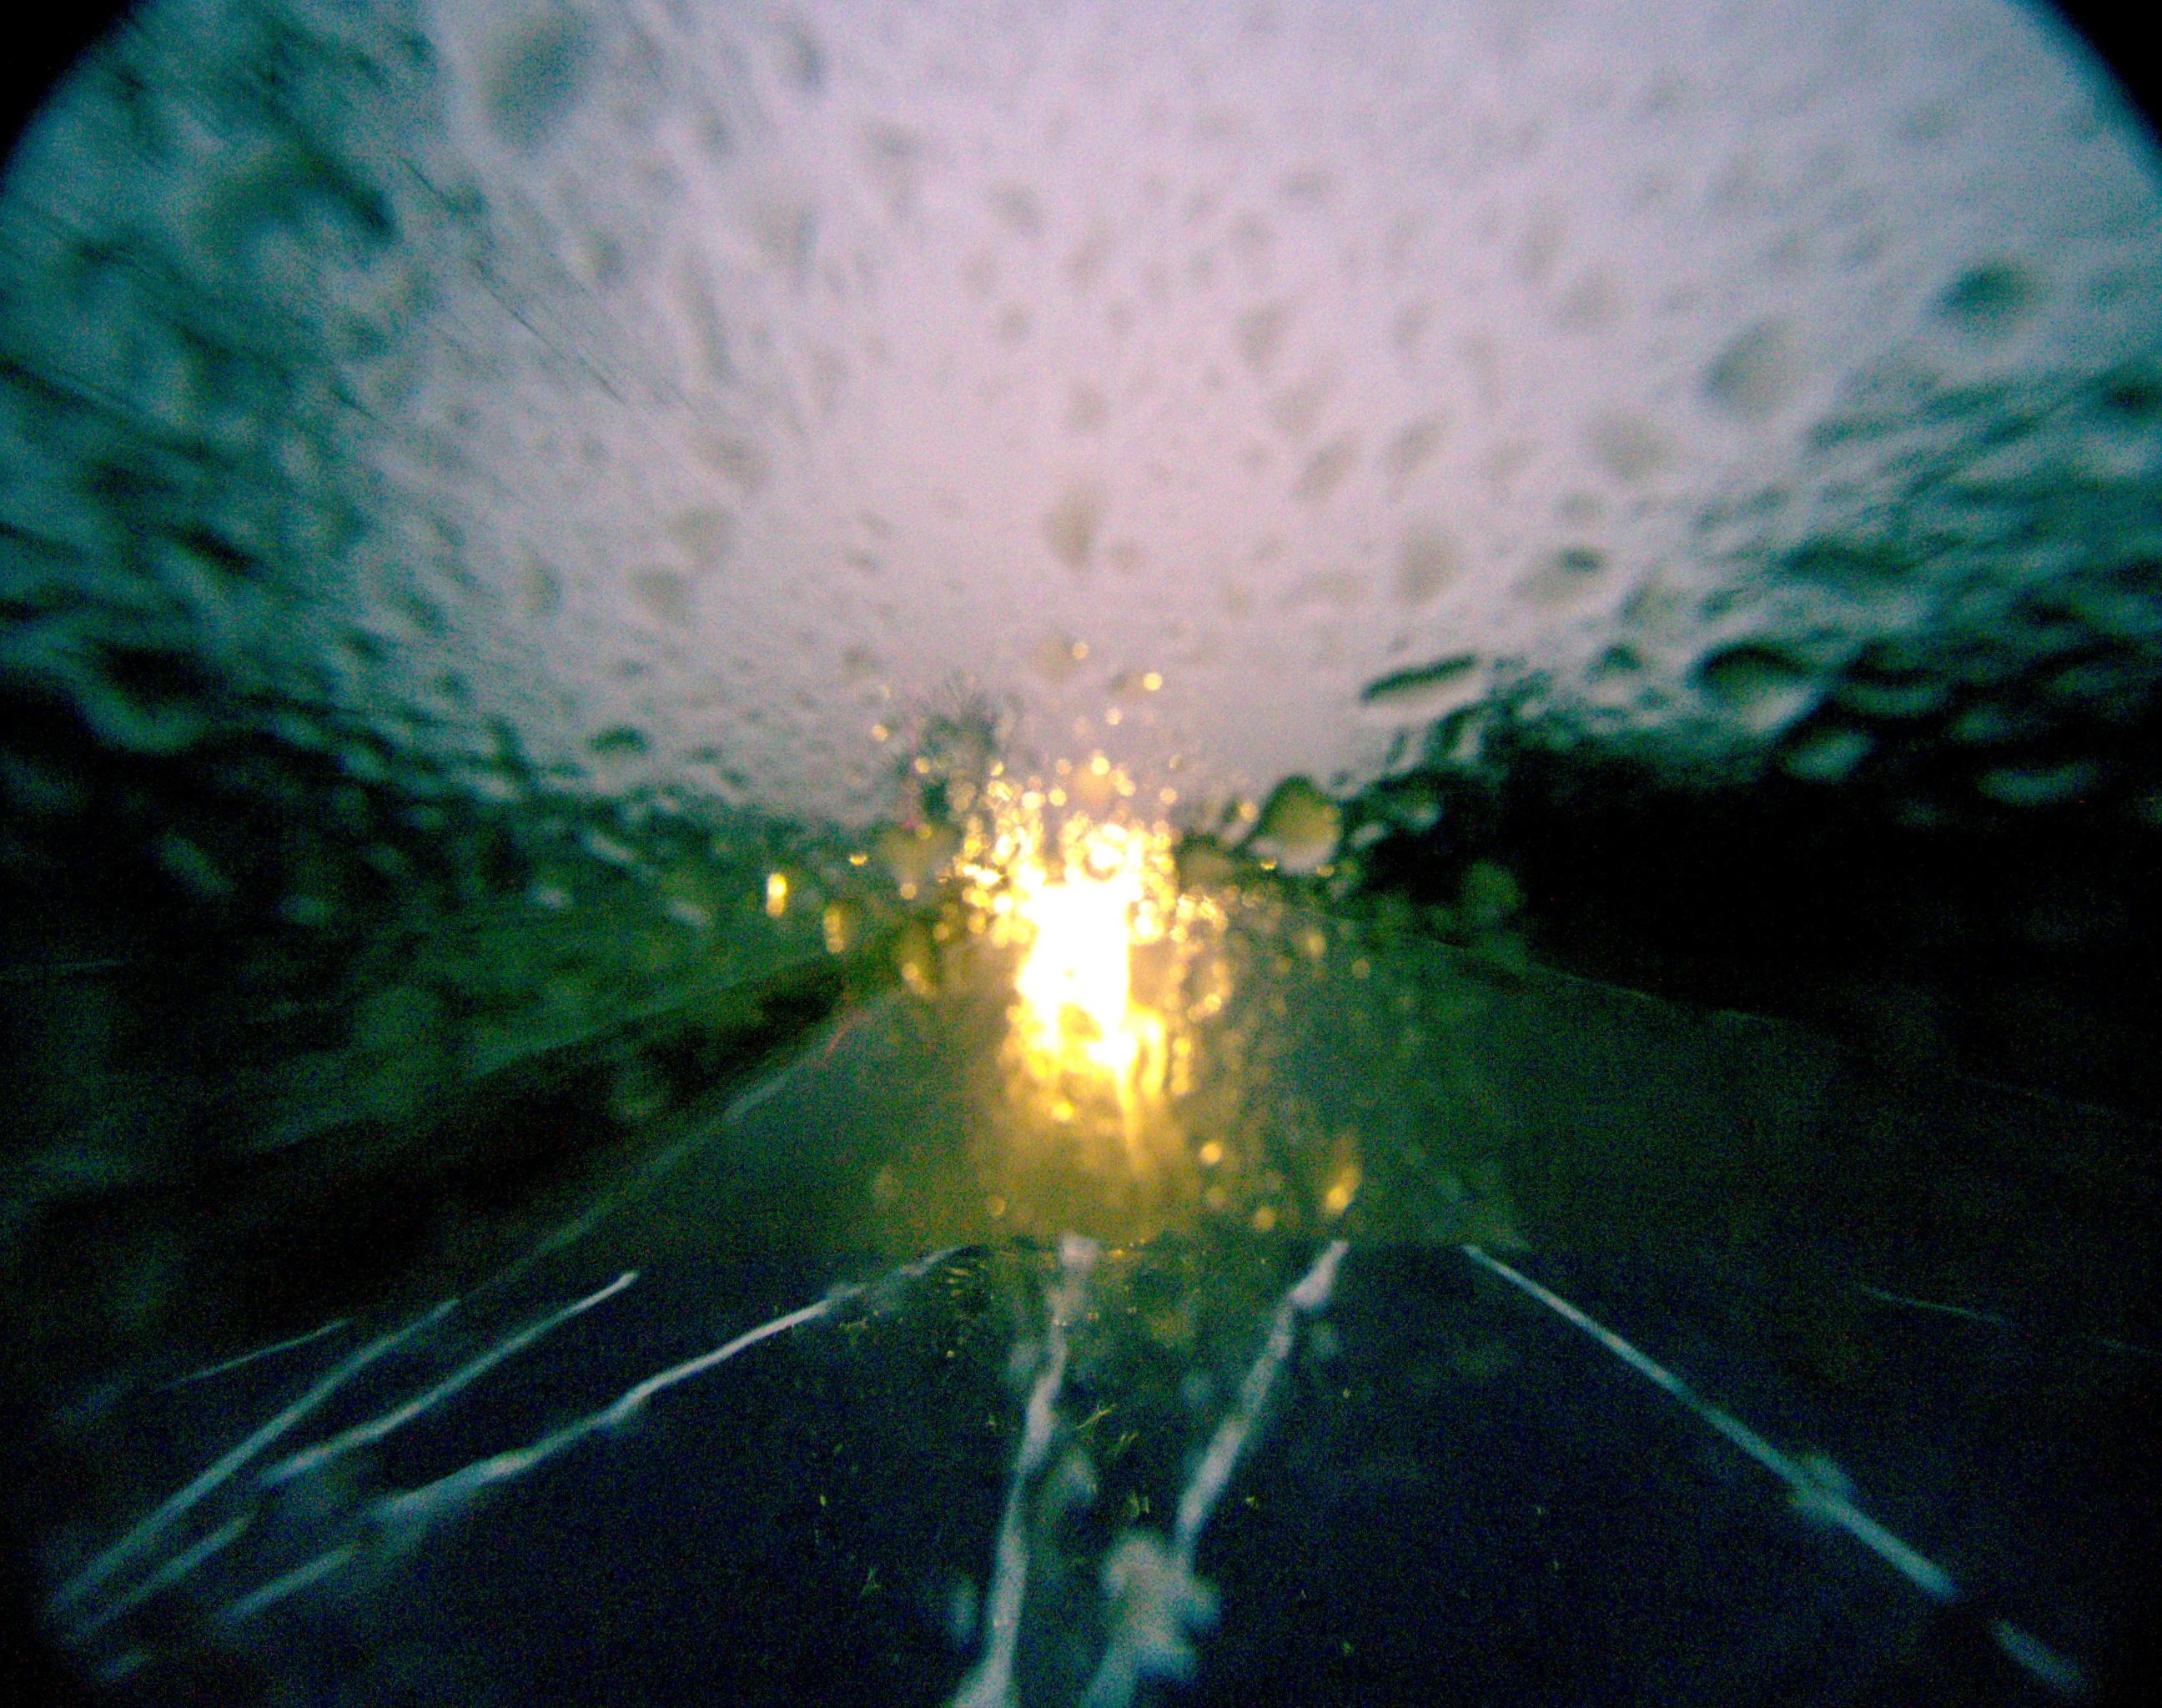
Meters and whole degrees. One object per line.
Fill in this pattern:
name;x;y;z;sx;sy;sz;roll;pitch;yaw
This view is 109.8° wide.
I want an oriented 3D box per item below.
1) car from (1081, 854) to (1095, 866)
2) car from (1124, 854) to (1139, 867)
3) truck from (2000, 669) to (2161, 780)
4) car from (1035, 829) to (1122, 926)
car;1.062;0.833;108.833;1.913;1.549;3.928;-2;1;0
car;7.001;0.839;105.927;1.912;1.654;3.928;-2;1;1
truck;26.340;-3.208;18.511;1.999;2.330;4.828;-2;1;-1
car;-0.022;0.529;20.025;1.953;2.195;4.534;-2;1;1
